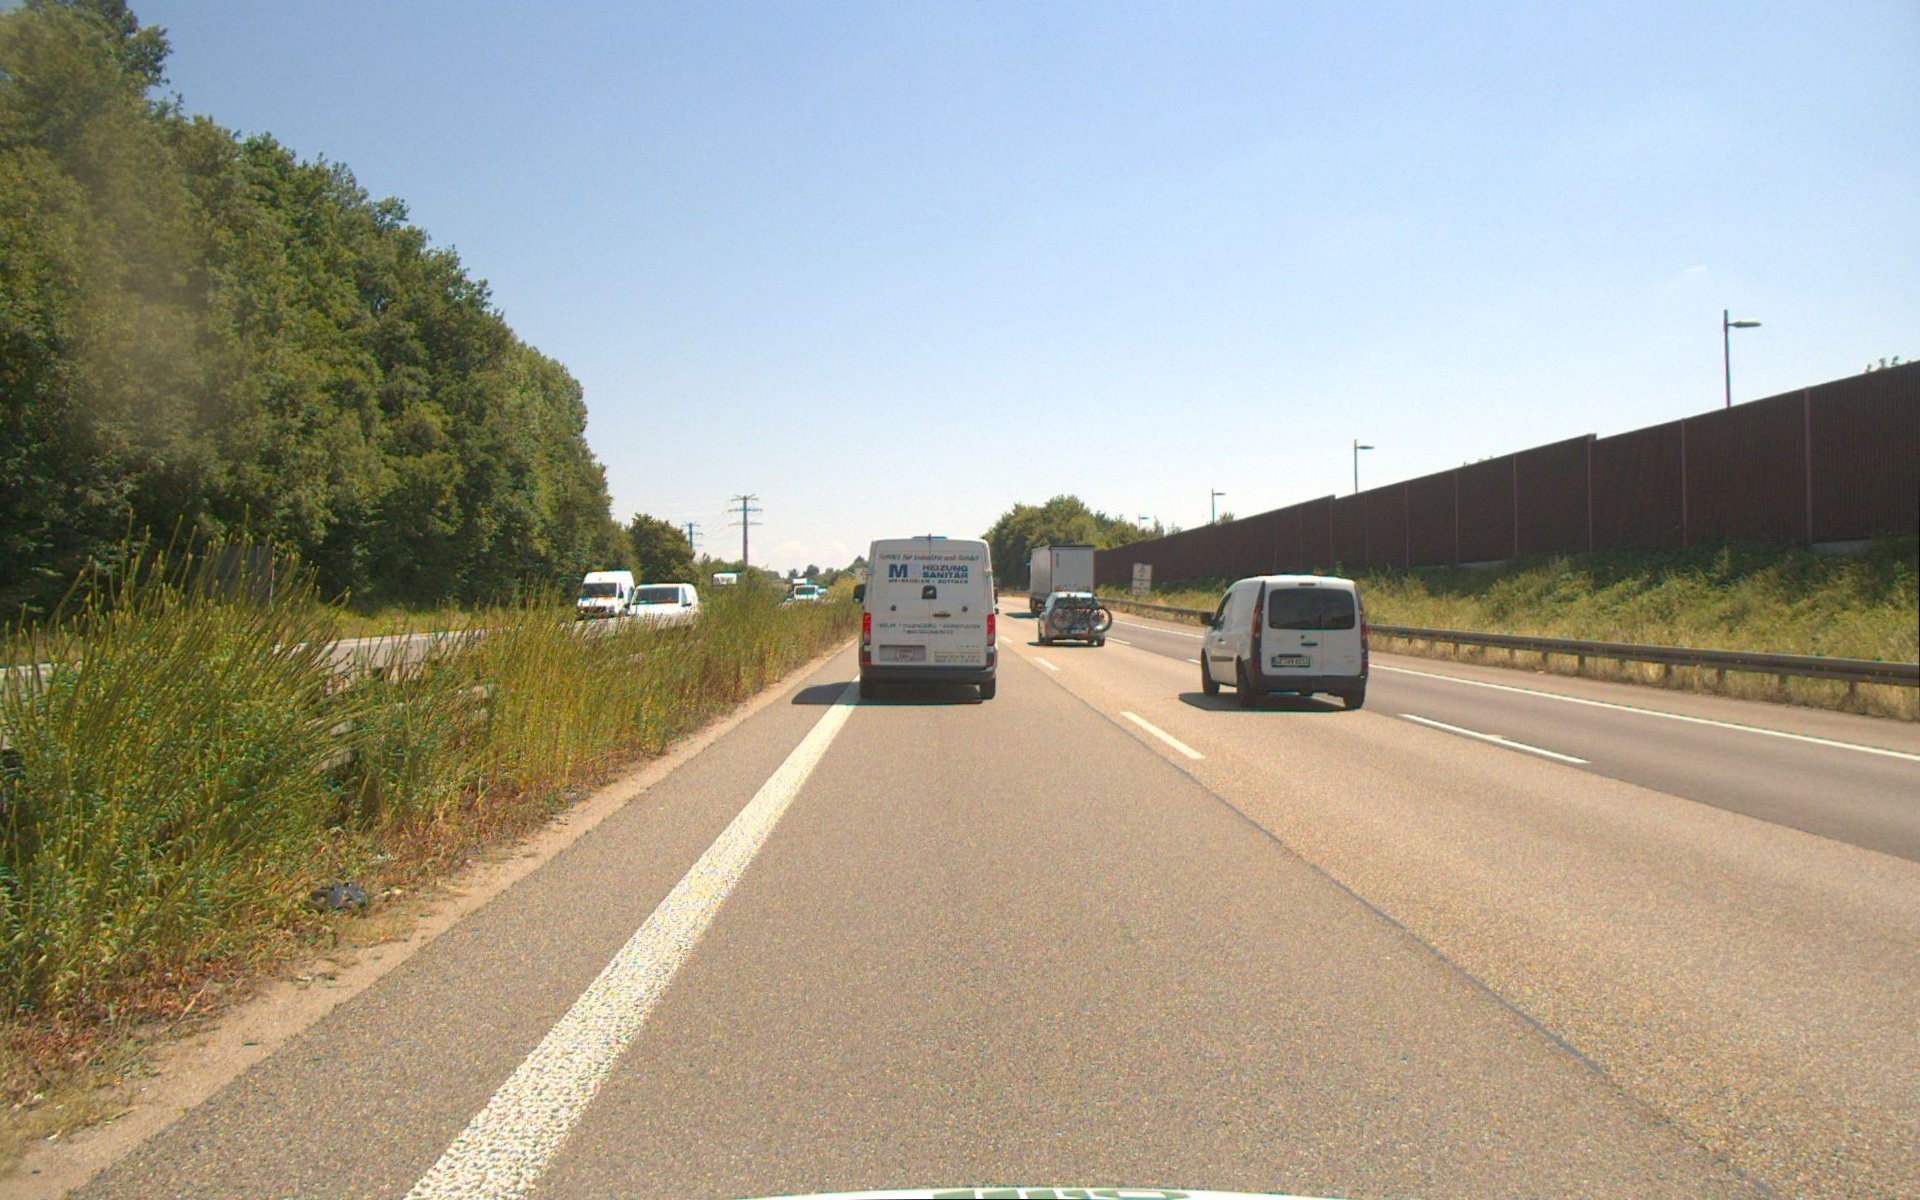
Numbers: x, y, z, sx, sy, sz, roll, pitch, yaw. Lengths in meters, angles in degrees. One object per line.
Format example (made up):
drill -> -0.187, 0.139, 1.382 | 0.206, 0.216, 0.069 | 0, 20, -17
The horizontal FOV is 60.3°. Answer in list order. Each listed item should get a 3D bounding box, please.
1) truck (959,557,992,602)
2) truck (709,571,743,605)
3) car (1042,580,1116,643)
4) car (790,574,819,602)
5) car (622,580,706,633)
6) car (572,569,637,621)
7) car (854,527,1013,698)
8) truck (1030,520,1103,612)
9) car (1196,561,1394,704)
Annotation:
truck -> 1.950, -2.398, 199.538 | 3.710, 5.087, 12.519 | 1, -1, 1
truck -> -19.933, -1.013, 141.191 | 1.952, 2.789, 5.858 | 1, -1, 1
car -> 3.451, 0.338, 48.677 | 1.935, 1.763, 4.089 | -1, -1, 1
car -> -11.658, -0.878, 123.994 | 1.953, 2.049, 3.998 | -1, 0, -2
car -> -9.679, 0.200, 54.389 | 1.953, 1.615, 4.425 | -2, 0, -1
car -> -17.183, -0.231, 80.144 | 2.081, 2.380, 5.084 | -2, 0, -1
car -> -0.528, 0.194, 25.227 | 2.138, 2.293, 5.359 | 1, -1, -4
truck -> 6.244, -1.862, 98.925 | 3.710, 5.087, 12.519 | 1, -1, 1
car -> 4.772, 0.451, 24.168 | 1.911, 1.870, 4.176 | -1, -1, -2
